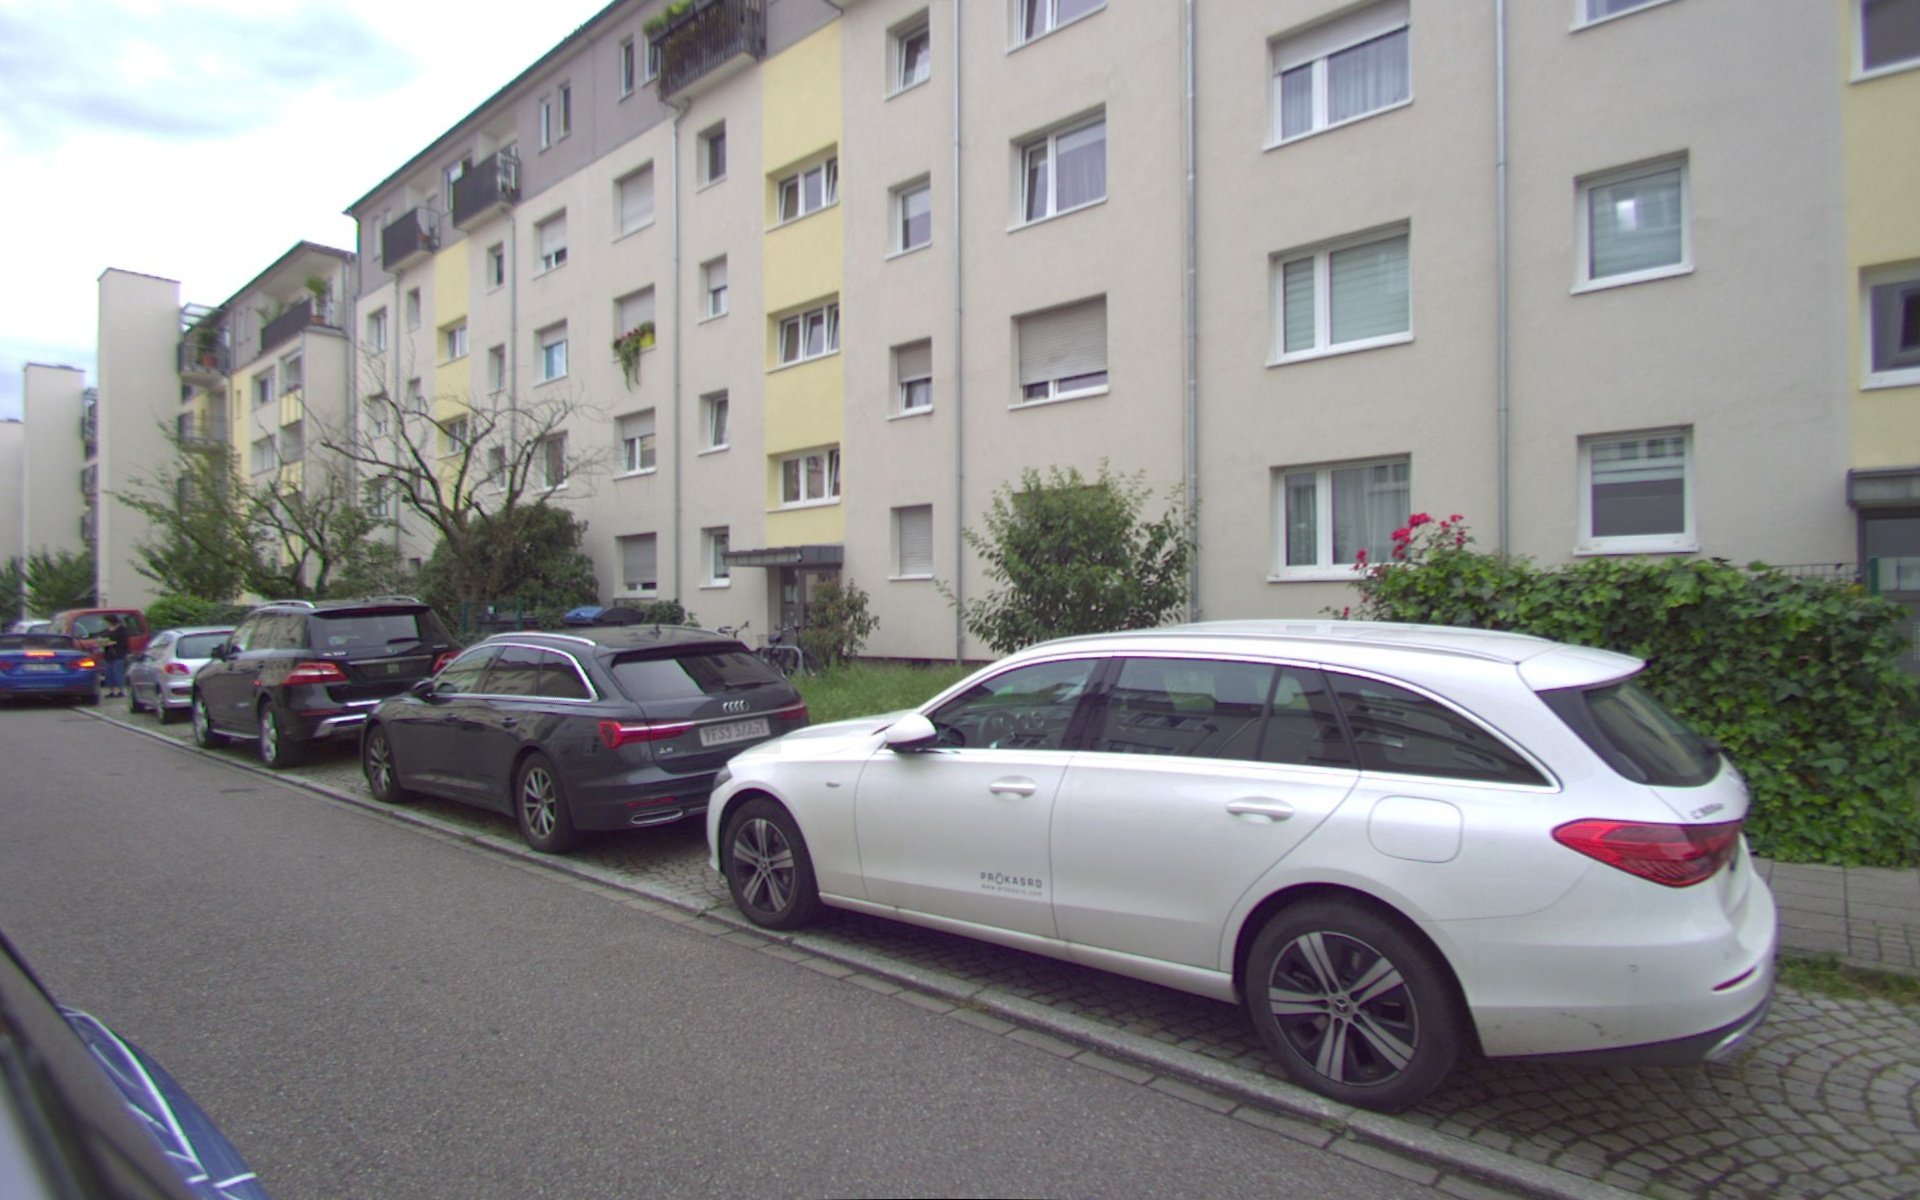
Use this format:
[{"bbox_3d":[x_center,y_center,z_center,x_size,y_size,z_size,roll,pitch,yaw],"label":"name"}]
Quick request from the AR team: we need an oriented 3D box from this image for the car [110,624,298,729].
[{"bbox_3d":[-12.608,1.174,16.808,3.784,1.475,1.726,-1,1,41],"label":"car"}]

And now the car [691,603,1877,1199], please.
[{"bbox_3d":[0.956,0.824,4.502,4.517,1.463,1.876,-1,1,40],"label":"car"}]

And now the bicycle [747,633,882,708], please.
[{"bbox_3d":[-2.350,1.087,16.117,2.354,1.089,0.780,-2,-2,41],"label":"bicycle"}]

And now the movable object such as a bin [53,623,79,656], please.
[{"bbox_3d":[-40.423,1.760,45.769,1.288,1.440,0.794,-2,0,45],"label":"movable object such as a bin"}]

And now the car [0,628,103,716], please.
[{"bbox_3d":[-17.691,1.285,19.053,4.500,1.462,1.825,-1,0,42],"label":"car"}]

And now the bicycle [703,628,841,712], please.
[{"bbox_3d":[-2.912,1.033,15.494,2.354,1.195,0.780,-2,-2,41],"label":"bicycle"}]

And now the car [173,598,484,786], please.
[{"bbox_3d":[-7.628,0.938,12.041,4.472,1.753,1.875,-1,1,41],"label":"car"}]

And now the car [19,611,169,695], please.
[{"bbox_3d":[-20.666,1.199,24.092,4.357,1.784,1.937,-1,0,39],"label":"car"}]

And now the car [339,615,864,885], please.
[{"bbox_3d":[-3.078,0.919,8.096,4.664,1.463,1.875,-1,1,41],"label":"car"}]

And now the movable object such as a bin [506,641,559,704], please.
[{"bbox_3d":[-6.760,1.129,16.007,0.635,0.962,0.545,-1,-2,41],"label":"movable object such as a bin"}]

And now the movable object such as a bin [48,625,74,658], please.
[{"bbox_3d":[-41.465,1.907,46.676,1.288,1.440,0.795,-2,0,44],"label":"movable object such as a bin"}]

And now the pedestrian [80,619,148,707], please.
[{"bbox_3d":[-16.919,1.232,20.238,0.790,1.714,0.738,-1,-1,21],"label":"pedestrian"}]

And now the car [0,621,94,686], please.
[{"bbox_3d":[-25.225,1.416,27.731,3.868,1.581,1.703,-1,1,41],"label":"car"}]
